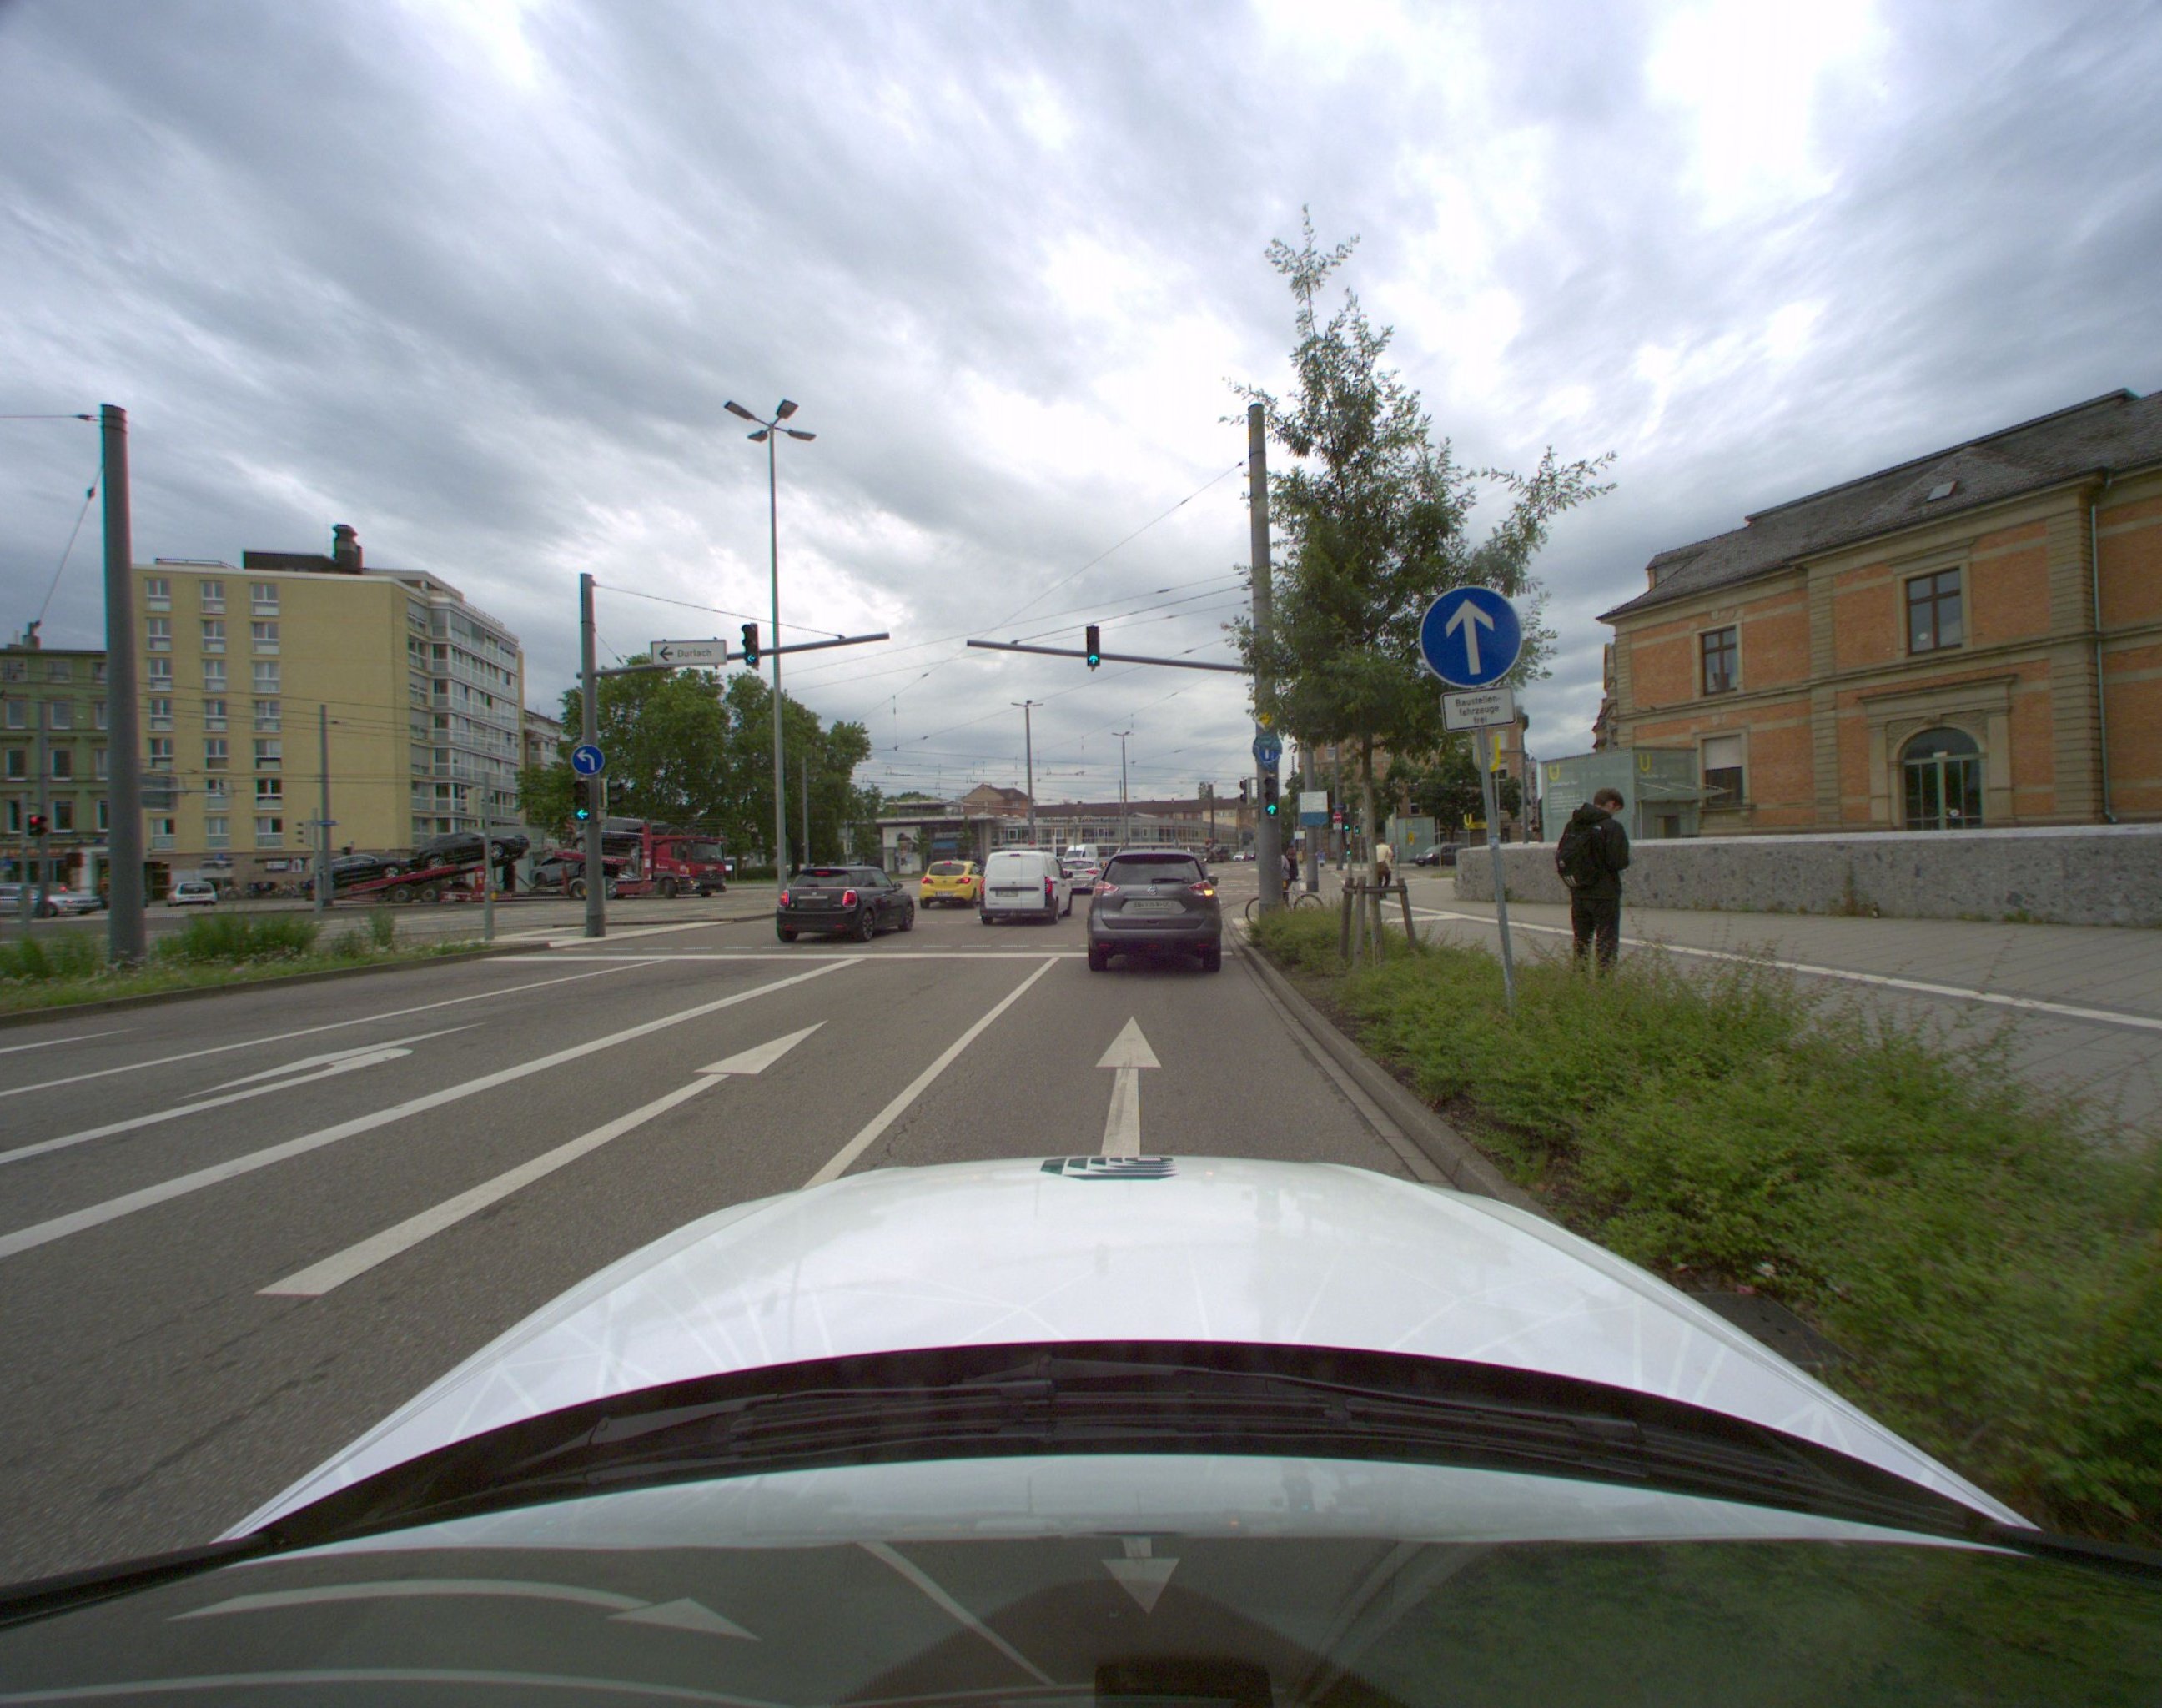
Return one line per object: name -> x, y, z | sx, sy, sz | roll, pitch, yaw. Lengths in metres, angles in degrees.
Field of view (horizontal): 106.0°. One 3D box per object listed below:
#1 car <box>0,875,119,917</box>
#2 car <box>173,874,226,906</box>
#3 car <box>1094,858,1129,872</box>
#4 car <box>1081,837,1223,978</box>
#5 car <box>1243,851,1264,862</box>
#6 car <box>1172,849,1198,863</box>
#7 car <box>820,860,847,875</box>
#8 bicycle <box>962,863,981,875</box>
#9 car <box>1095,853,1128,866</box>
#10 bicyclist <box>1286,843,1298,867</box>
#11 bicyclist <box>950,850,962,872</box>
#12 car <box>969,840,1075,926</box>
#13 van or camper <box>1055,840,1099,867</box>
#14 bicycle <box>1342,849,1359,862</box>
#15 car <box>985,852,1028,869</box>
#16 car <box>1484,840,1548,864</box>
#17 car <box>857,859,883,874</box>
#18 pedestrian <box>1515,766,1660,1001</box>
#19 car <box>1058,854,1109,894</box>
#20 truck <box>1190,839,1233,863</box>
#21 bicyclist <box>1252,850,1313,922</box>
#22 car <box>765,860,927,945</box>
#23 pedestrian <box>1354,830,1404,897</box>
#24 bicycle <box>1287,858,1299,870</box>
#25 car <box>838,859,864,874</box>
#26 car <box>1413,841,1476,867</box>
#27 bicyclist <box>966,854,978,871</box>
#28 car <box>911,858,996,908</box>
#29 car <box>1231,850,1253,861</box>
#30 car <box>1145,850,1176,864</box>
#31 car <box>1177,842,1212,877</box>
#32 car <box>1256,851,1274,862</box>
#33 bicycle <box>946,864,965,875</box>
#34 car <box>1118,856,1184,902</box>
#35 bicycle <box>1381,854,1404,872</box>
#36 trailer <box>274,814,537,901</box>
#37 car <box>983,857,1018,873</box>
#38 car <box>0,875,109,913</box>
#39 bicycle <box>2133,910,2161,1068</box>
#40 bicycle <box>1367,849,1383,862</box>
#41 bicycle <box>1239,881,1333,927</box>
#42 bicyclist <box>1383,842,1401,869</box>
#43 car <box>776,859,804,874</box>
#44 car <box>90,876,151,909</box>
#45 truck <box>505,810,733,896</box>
car -> -46.491, 1.859, 36.446 | 3.994, 1.728, 1.990 | 0, 0, -16
car -> -53.019, 2.124, 49.002 | 3.950, 1.755, 2.094 | 0, 0, 43
car -> 3.390, 1.191, 89.260 | 1.975, 1.420, 4.830 | -1, 0, 27
car -> 1.070, 0.707, 12.304 | 1.741, 1.756, 3.929 | -2, -1, 5
car -> 29.626, 0.364, 139.753 | 1.974, 1.839, 4.551 | -1, 0, 32
car -> 14.966, 0.287, 117.148 | 1.974, 1.839, 4.551 | -1, 0, 32
car -> -34.144, 1.822, 112.378 | 1.982, 2.014, 4.009 | 0, 0, 8
bicycle -> -9.770, 1.334, 72.747 | 0.514, 0.926, 2.235 | -1, 0, 24
car -> 3.745, 0.685, 97.779 | 1.974, 1.420, 4.780 | -1, 0, 29
bicyclist -> 14.802, 0.066, 57.024 | 0.684, 1.708, 0.800 | -1, 0, 8
bicyclist -> -10.770, 0.601, 70.011 | 0.622, 1.803, 0.802 | -1, 0, 24
car -> -1.381, 0.670, 20.713 | 1.902, 1.940, 4.139 | -1, 0, 7
van or camper -> -0.300, -0.061, 81.582 | 2.395, 2.611, 6.082 | 0, 0, 20
bicycle -> 28.542, 0.157, 86.186 | 0.948, 1.354, 3.140 | 0, 0, 33
car -> -8.909, 0.801, 97.681 | 4.726, 2.014, 2.132 | 0, 0, 20
car -> 36.696, -0.168, 68.734 | 5.102, 1.916, 1.856 | -1, 0, -21
car -> -28.868, 1.721, 111.581 | 1.982, 2.014, 4.009 | 0, 0, 8
pedestrian -> 4.473, 0.241, 7.208 | 0.876, 1.928, 0.717 | -1, -1, -29
car -> 0.166, 0.768, 33.134 | 1.845, 1.508, 4.003 | 0, 0, 3
truck -> 20.080, -0.367, 124.587 | 2.767, 3.549, 9.282 | 0, 0, 35
bicyclist -> 4.355, 0.680, 17.656 | 1.094, 1.520, 0.760 | -1, -1, 0
car -> -4.606, 0.898, 16.638 | 1.760, 1.468, 4.007 | -1, 0, 6
pedestrian -> 8.621, 0.267, 23.537 | 0.876, 1.867, 1.294 | -2, -1, 42
bicycle -> 14.822, 0.682, 57.066 | 0.615, 0.793, 1.595 | -1, 0, 8
car -> -31.643, 1.731, 112.160 | 1.982, 2.014, 4.009 | 0, 0, 8
car -> 27.480, -0.002, 61.560 | 4.389, 1.900, 1.682 | -1, -1, -22
bicyclist -> -9.743, 0.738, 72.800 | 0.560, 1.508, 0.861 | -1, 1, 24
car -> -4.078, 0.899, 26.628 | 1.809, 1.494, 4.006 | 0, 0, 5
car -> 26.416, 0.216, 133.739 | 1.974, 1.839, 4.551 | -1, 0, 32
car -> 10.806, 0.369, 110.462 | 2.136, 1.856, 5.481 | -1, 0, 29
car -> 6.706, 0.339, 48.574 | 1.983, 2.014, 4.007 | 0, 0, 6
car -> 33.121, 0.380, 146.665 | 1.975, 1.839, 4.550 | -1, 0, 27
bicycle -> -10.812, 1.330, 70.163 | 0.514, 0.930, 2.235 | -1, 0, 24
car -> 2.493, 0.808, 28.022 | 1.982, 1.420, 4.009 | -1, 0, 8
bicycle -> 18.656, 0.535, 48.743 | 0.664, 0.933, 1.871 | -5, -1, 40
trailer -> -32.572, 0.148, 39.755 | 9.526, 3.973, 2.985 | 0, 0, -11
car -> -7.133, 0.963, 72.581 | 1.672, 1.247, 3.756 | -1, 0, 19
car -> -50.229, 1.914, 39.184 | 3.994, 1.728, 1.990 | 0, 0, -16
bicycle -> 6.133, 0.729, 3.502 | 0.554, 0.848, 2.074 | -1, 0, 1
bicycle -> 30.735, 0.146, 85.094 | 0.948, 1.354, 3.140 | 0, 0, 33
bicycle -> 4.432, 1.073, 17.668 | 1.814, 0.840, 0.767 | -3, 0, 0
bicyclist -> 18.639, 0.070, 48.789 | 0.684, 1.560, 0.932 | -4, 0, 39
car -> -40.512, 1.705, 113.288 | 1.982, 2.014, 4.009 | 0, 0, 8
car -> -55.391, 2.189, 47.029 | 3.950, 1.755, 2.094 | 0, 0, 43
truck -> -22.466, -0.020, 39.673 | 10.348, 3.920, 3.026 | 0, 0, 14
